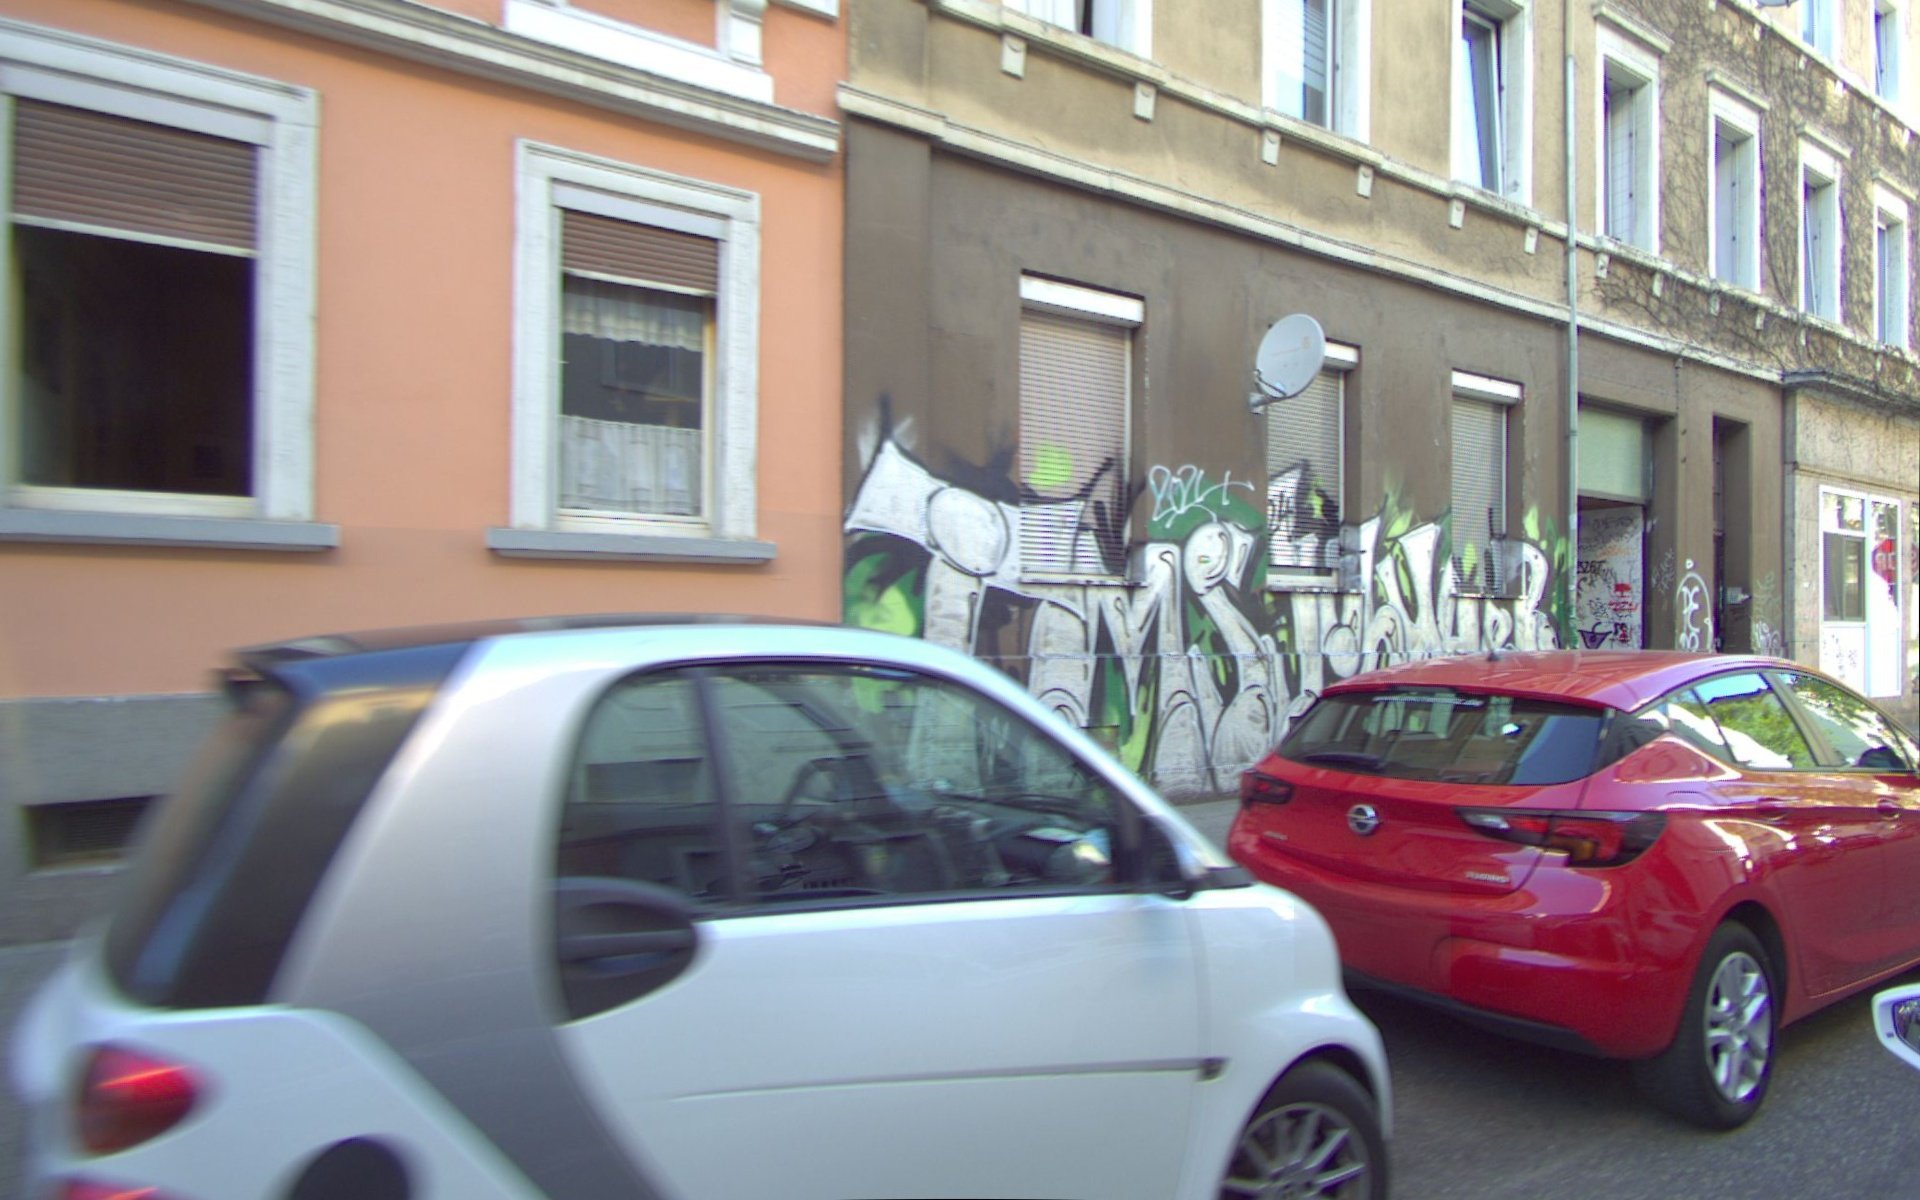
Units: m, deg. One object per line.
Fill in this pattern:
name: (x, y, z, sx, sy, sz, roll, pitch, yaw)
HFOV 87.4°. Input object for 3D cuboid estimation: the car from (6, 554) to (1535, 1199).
car: (-0.176, 0.796, 2.492, 2.930, 1.569, 1.669, 1, -3, -34)

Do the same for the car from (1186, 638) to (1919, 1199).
car: (3.120, 0.935, 4.459, 4.156, 1.492, 1.670, 1, -3, -32)
